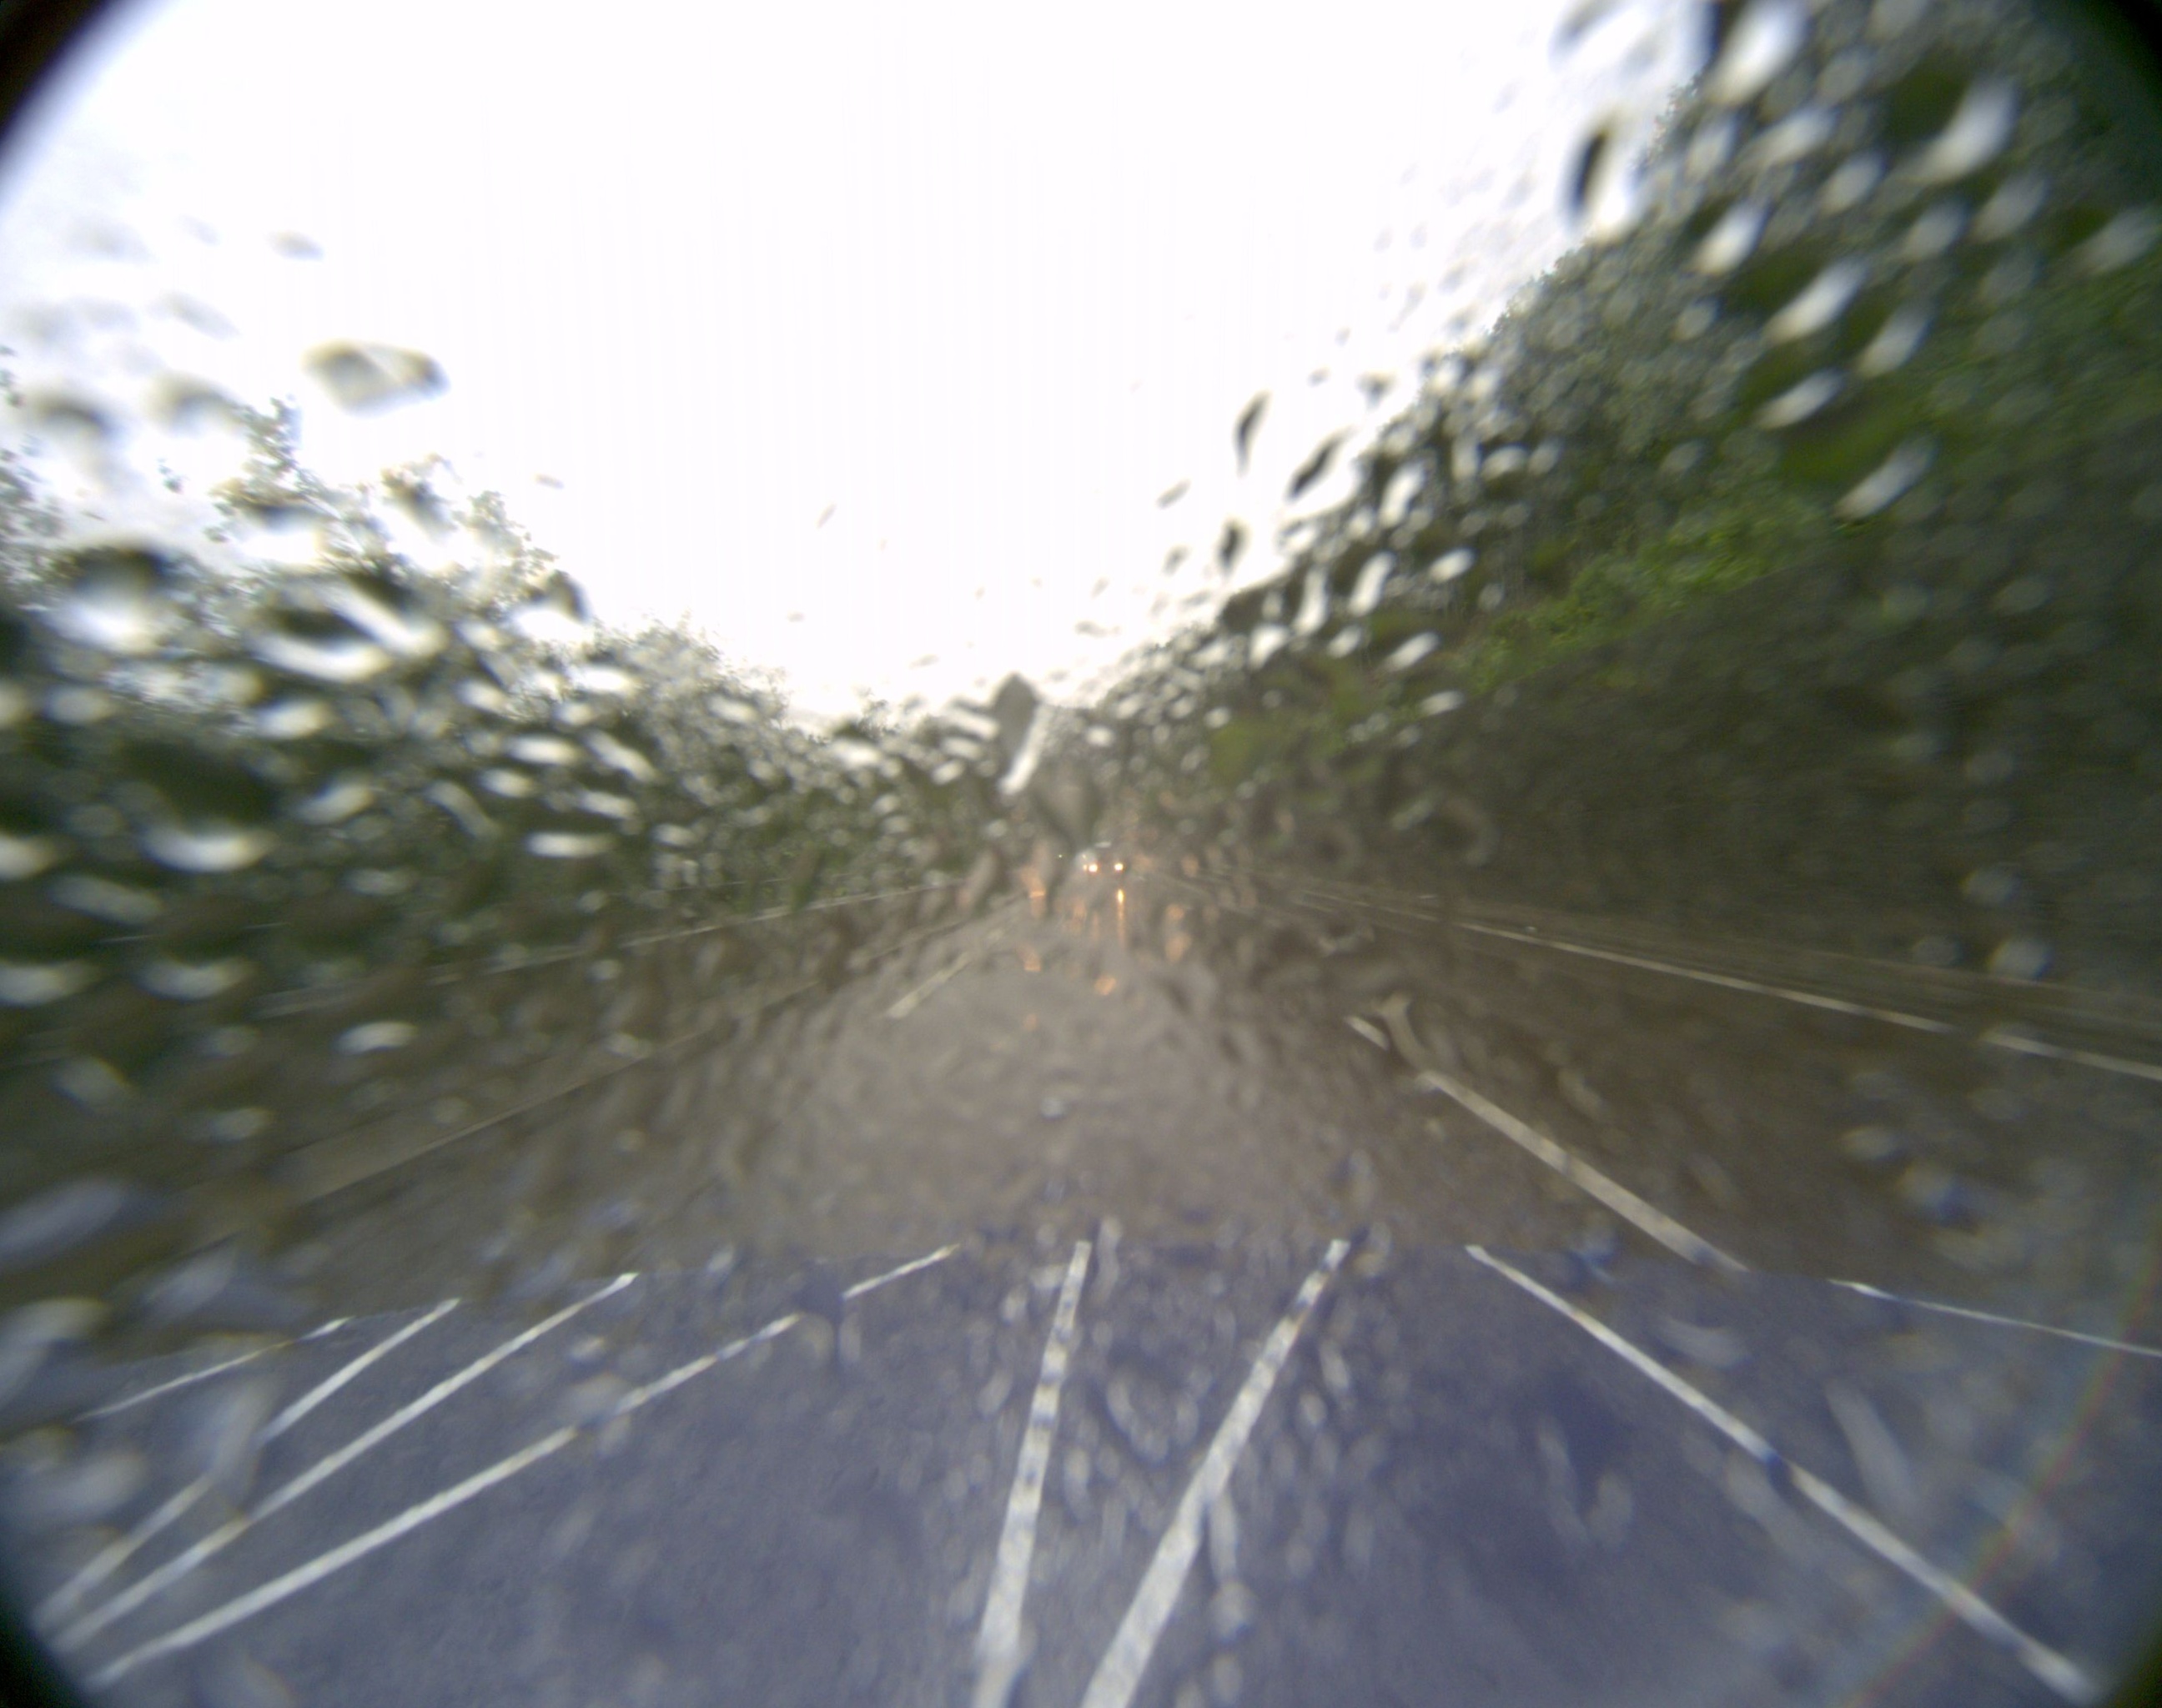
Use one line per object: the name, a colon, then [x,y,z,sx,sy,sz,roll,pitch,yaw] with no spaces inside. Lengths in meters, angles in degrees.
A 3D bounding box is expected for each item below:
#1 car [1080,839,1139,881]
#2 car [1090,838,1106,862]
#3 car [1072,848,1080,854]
car: [1.248,0.190,34.533,2.359,1.549,5.498,-5,1,1]
car: [2.180,-0.503,99.211,1.742,3.008,3.999,-3,1,-1]
car: [-1.061,-0.667,164.666,1.742,1.393,3.999,-3,1,-1]
